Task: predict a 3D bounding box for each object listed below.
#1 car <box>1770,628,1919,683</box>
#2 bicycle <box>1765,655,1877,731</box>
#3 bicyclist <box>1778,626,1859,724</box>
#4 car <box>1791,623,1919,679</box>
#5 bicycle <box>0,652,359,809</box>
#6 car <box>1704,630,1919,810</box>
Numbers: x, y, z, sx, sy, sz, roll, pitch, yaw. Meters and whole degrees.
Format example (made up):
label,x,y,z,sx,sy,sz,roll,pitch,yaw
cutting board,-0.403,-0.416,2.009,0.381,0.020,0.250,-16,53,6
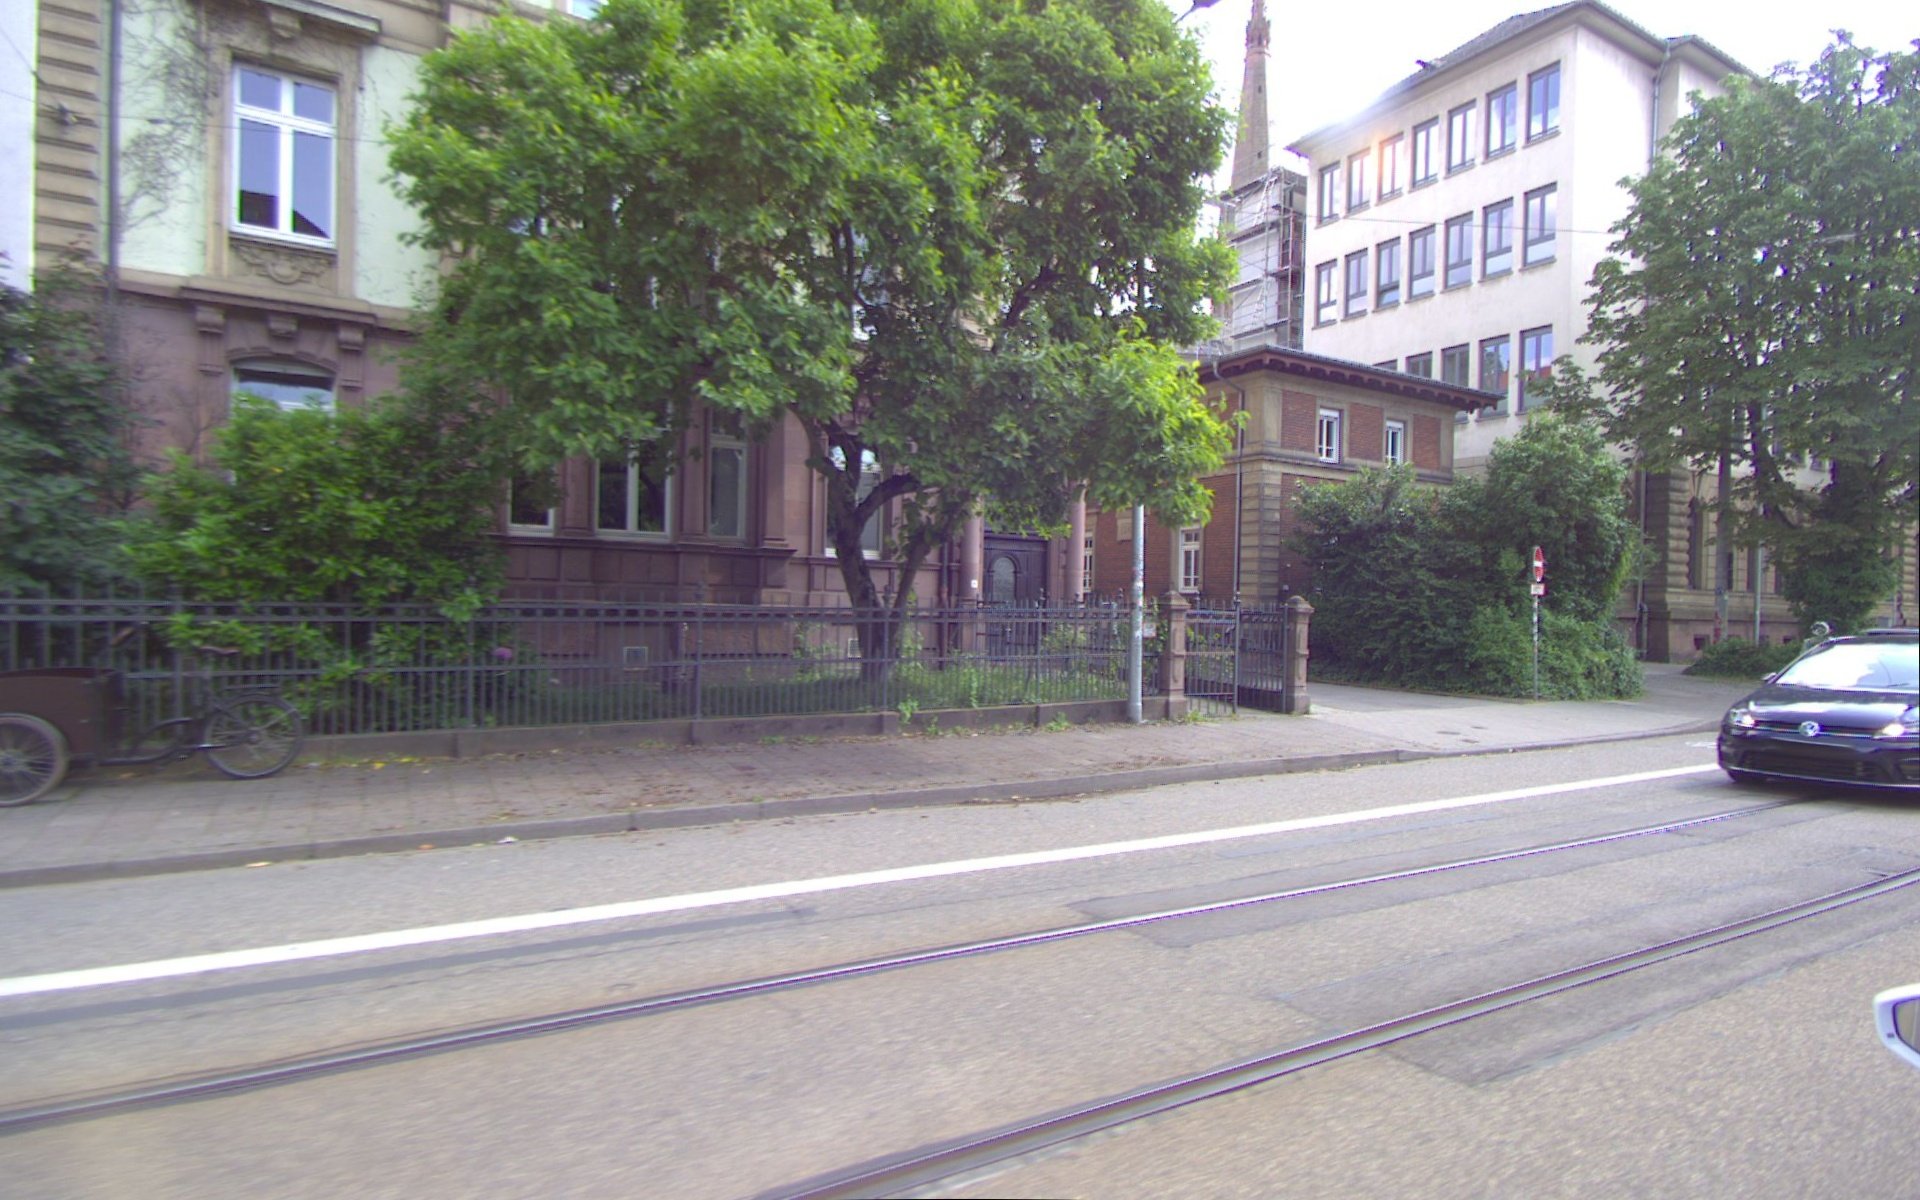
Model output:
label,x,y,z,sx,sy,sz,roll,pitch,yaw
car,27.105,1.639,30.133,4.168,1.466,1.789,1,0,33
bicycle,13.690,1.464,15.965,1.997,1.111,0.600,1,-5,-28
bicyclist,13.647,1.189,15.969,0.871,1.511,0.597,1,-5,-28
car,29.153,1.618,31.687,4.164,1.571,1.924,2,1,29
bicycle,-6.166,0.903,7.387,2.954,0.921,1.137,1,3,-31
car,9.065,1.037,9.705,3.886,1.420,1.680,2,-1,-31
